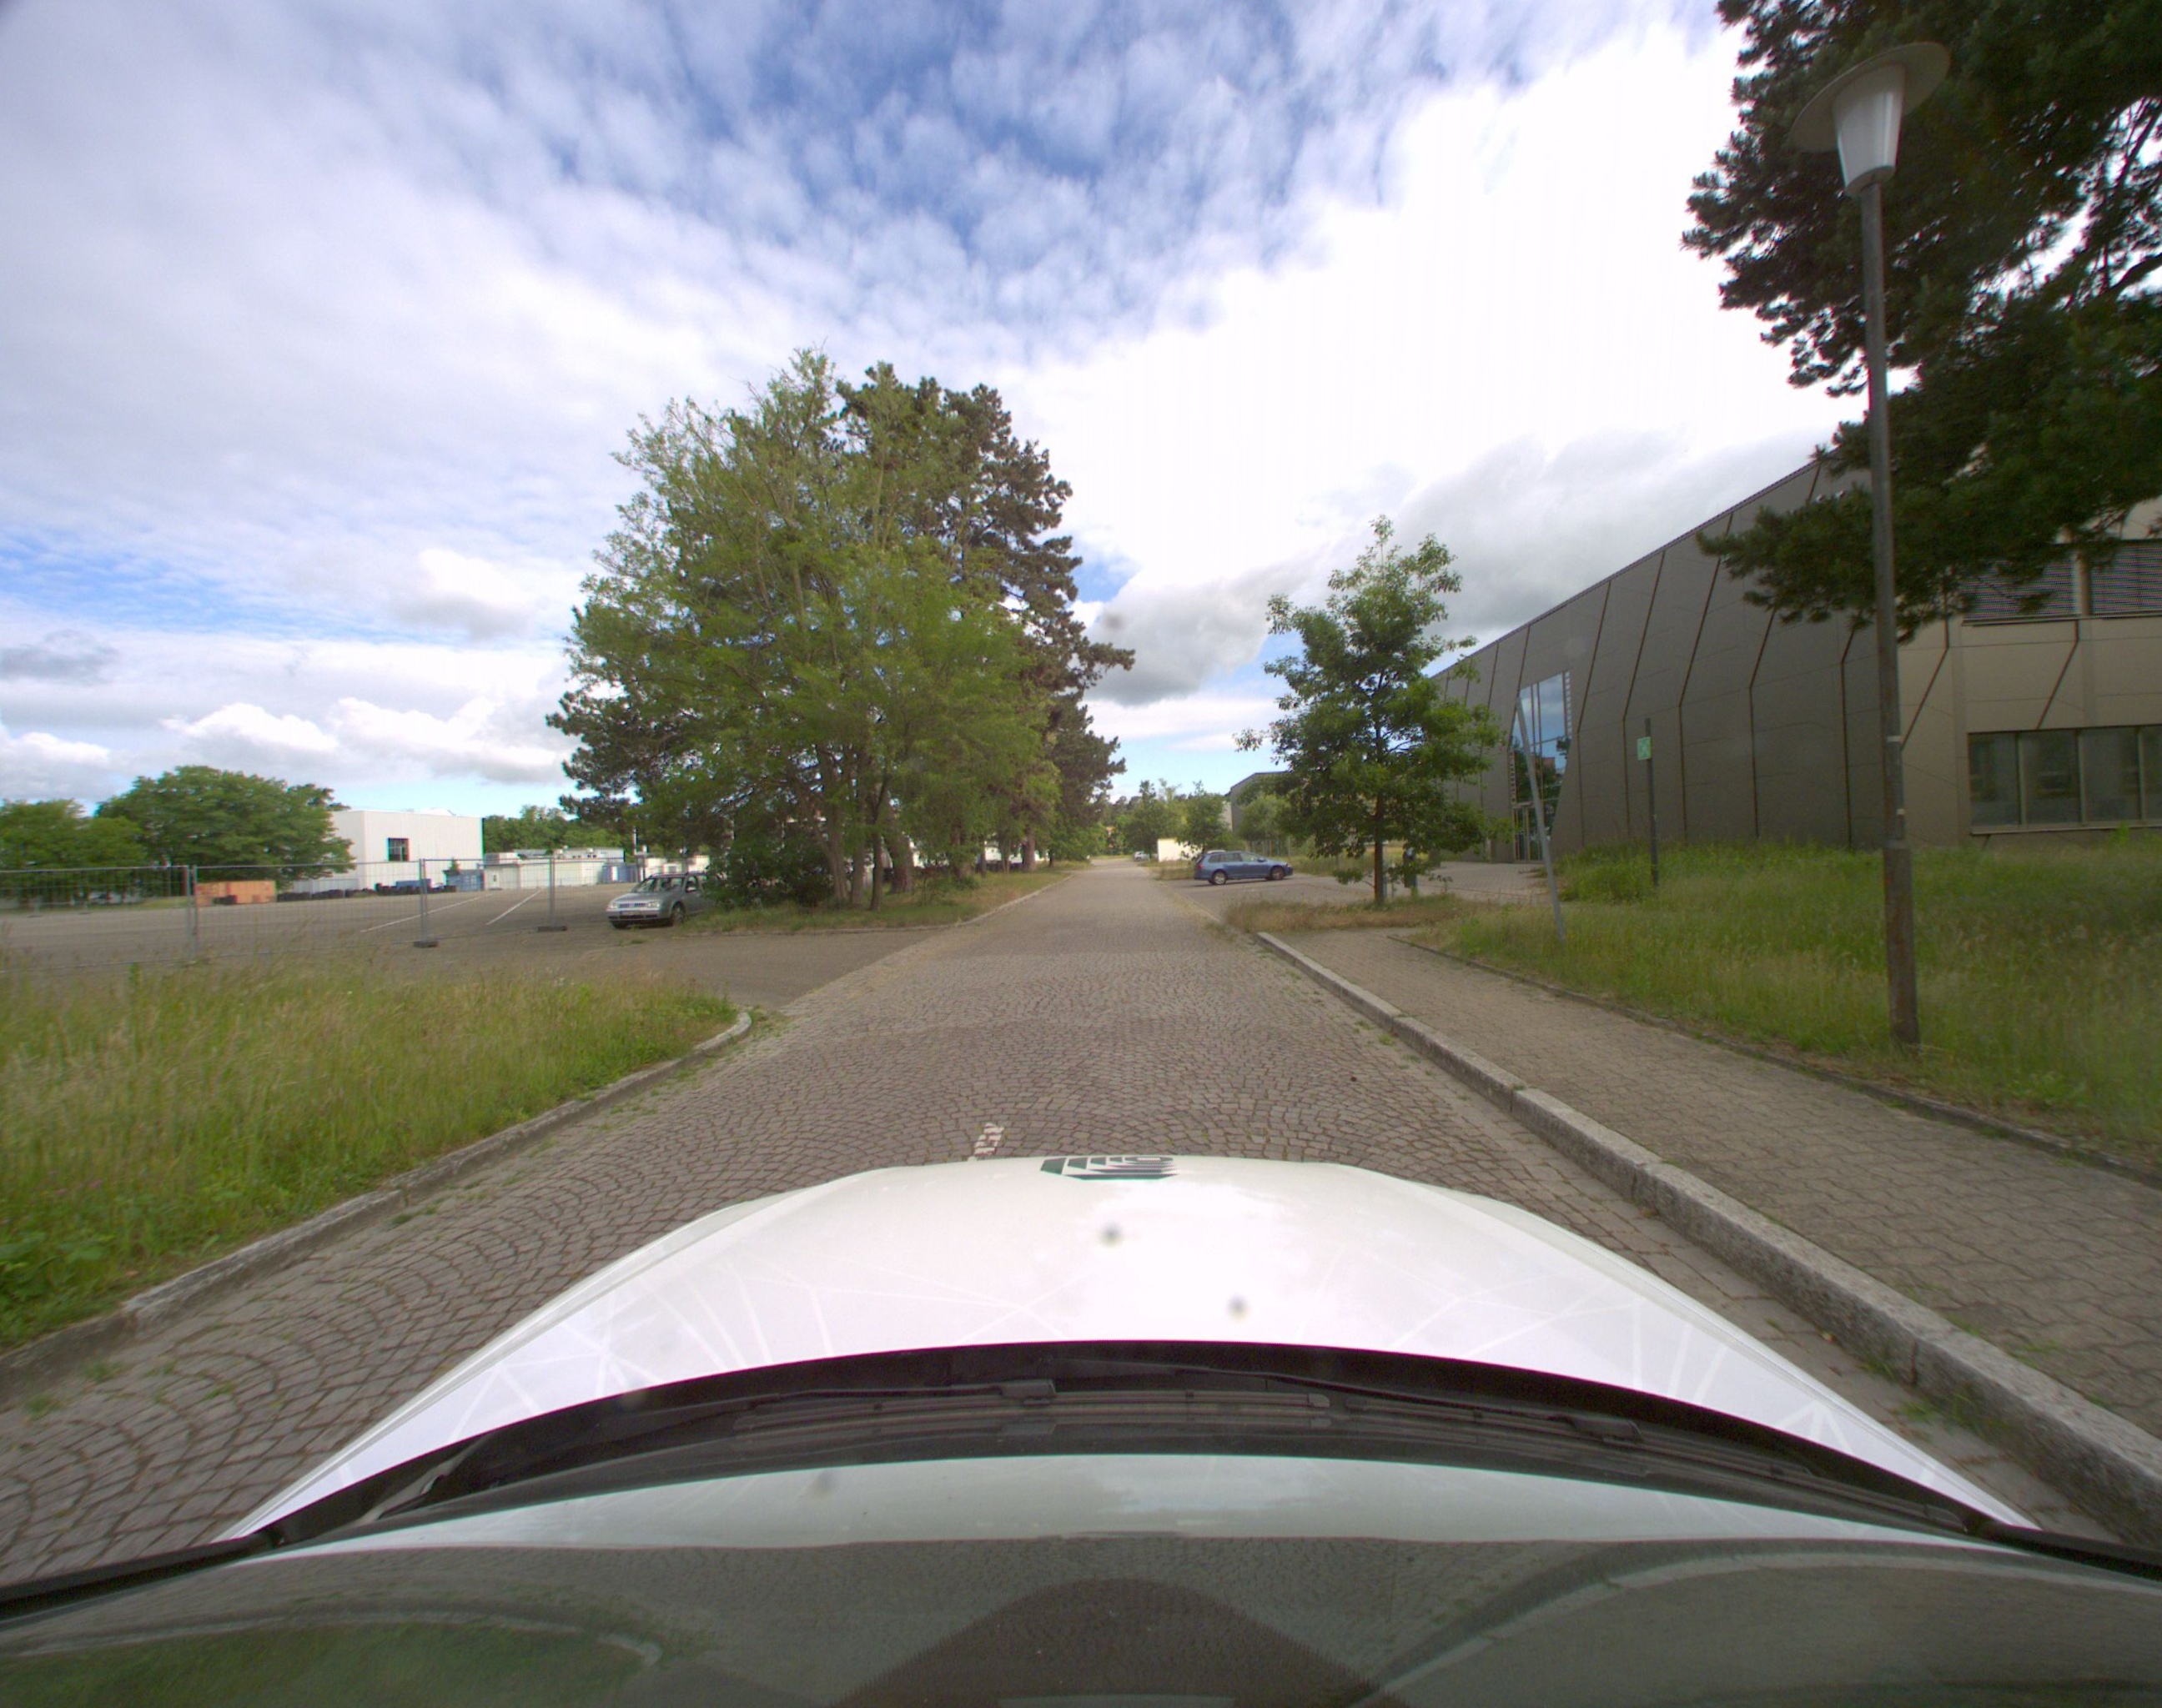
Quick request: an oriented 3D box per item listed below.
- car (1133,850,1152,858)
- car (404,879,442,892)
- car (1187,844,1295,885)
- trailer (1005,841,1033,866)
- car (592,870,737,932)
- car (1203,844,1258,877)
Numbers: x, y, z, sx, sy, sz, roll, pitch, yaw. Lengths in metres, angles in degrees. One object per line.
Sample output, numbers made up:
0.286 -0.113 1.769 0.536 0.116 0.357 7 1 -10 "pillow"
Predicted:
11.620 0.022 154.492 3.508 1.362 1.624 -4 0 3 "car"
-98.031 4.723 121.352 4.087 1.633 1.832 -2 0 3 "car"
7.284 0.459 37.366 4.477 1.475 1.830 -5 0 -1 "car"
-9.410 -0.118 125.056 2.613 3.597 10.191 -2 0 5 "trailer"
-11.779 1.269 23.399 1.818 1.416 4.421 -2 0 0 "car"
8.228 0.348 44.910 2.698 1.556 1.655 -5 0 3 "car"
